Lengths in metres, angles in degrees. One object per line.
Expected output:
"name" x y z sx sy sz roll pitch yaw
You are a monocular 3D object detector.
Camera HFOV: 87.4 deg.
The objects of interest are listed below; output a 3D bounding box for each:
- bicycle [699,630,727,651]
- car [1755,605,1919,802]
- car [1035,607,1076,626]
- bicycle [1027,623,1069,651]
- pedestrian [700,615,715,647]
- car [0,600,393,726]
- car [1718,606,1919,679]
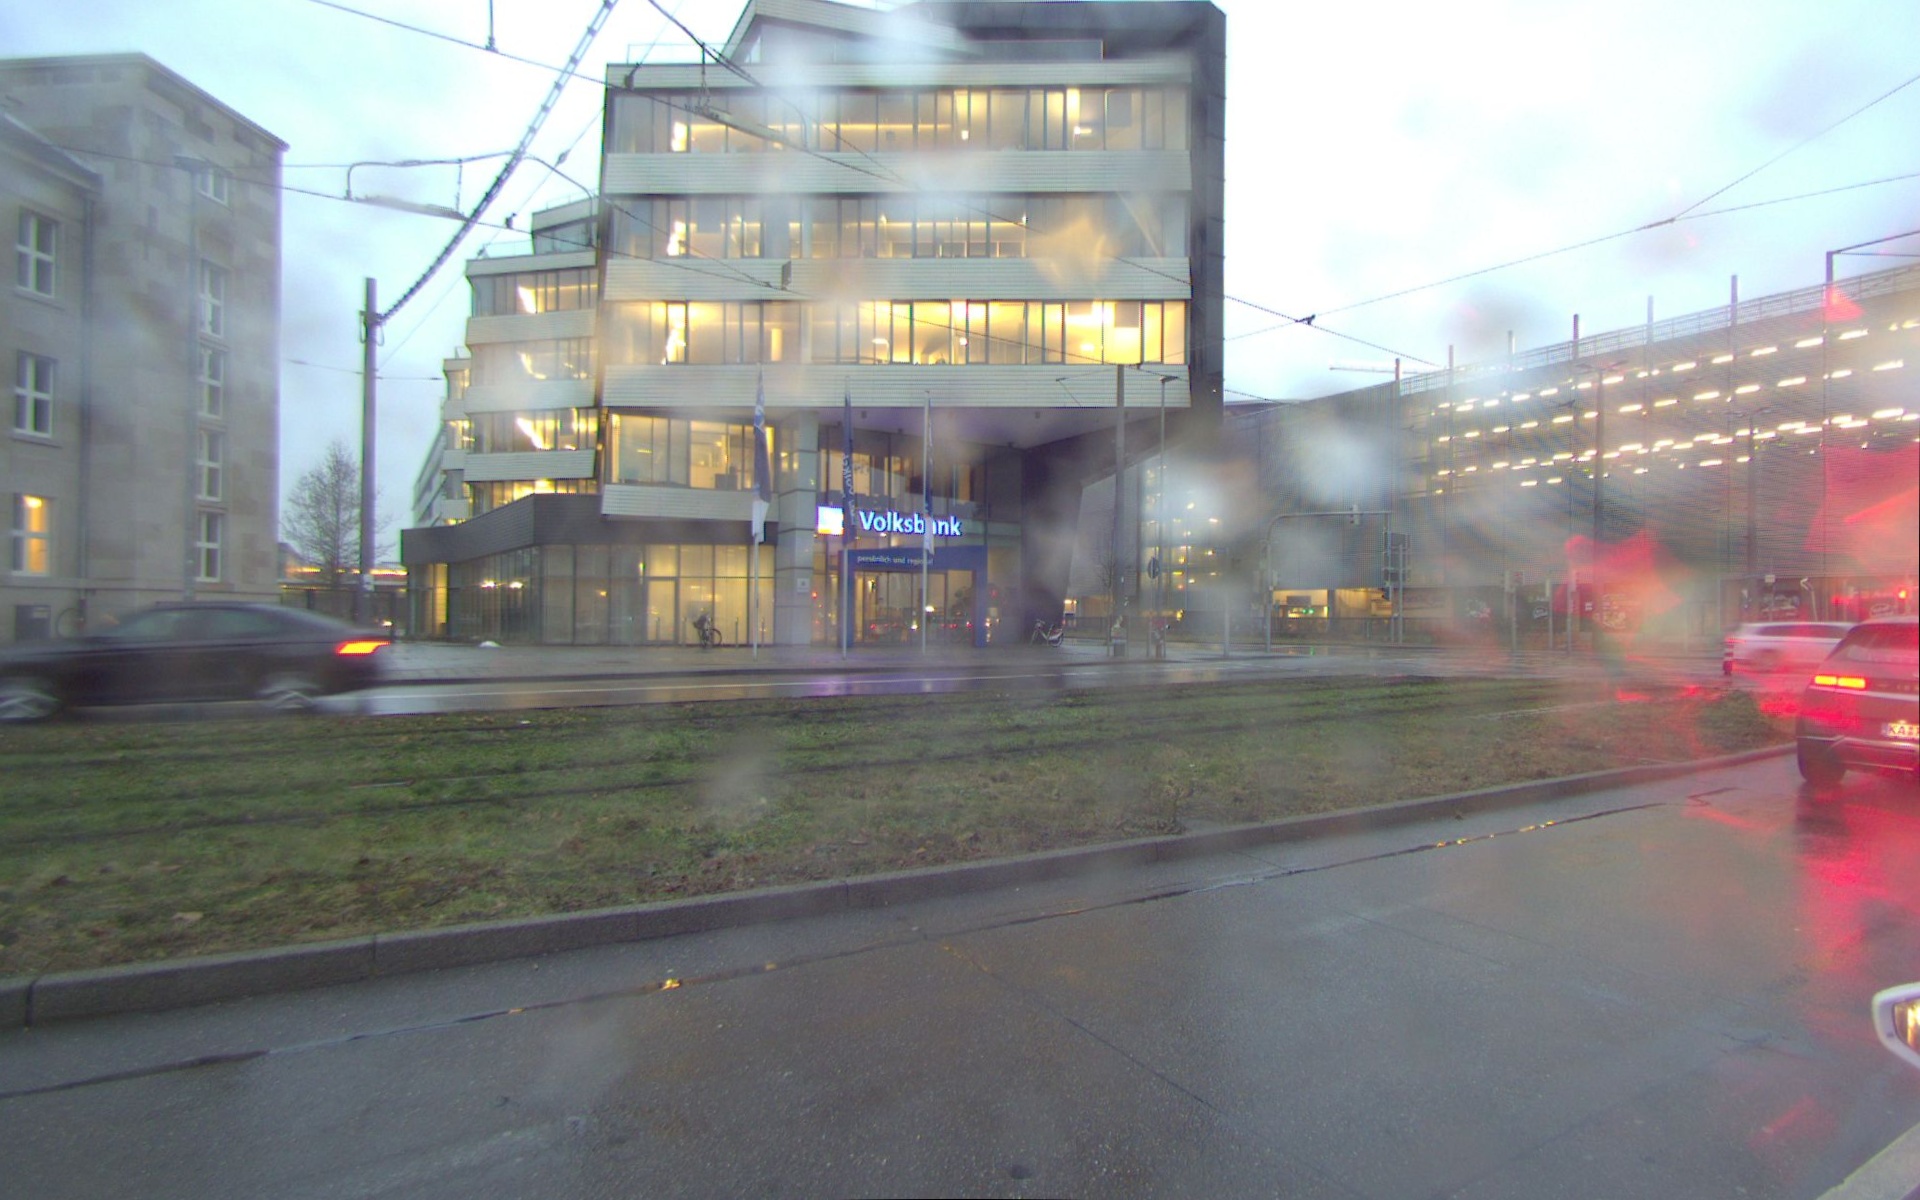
"bicycle" -8.618 1.397 35.054 0.896 0.724 0.483 1 -1 -10
"car" 9.277 0.877 9.448 3.959 1.595 1.742 1 -1 -34
"car" 10.810 1.849 114.140 1.872 1.988 5.044 0 1 -35
"bicycle" 3.524 1.475 40.101 1.588 1.105 0.553 1 -1 -23
"pedestrian" -8.641 1.053 34.372 0.380 1.103 0.325 0 -1 5
"car" -10.106 0.758 13.296 4.467 1.419 1.649 1 1 -29
"car" 24.132 1.151 27.896 1.816 1.875 4.632 2 -2 -39
